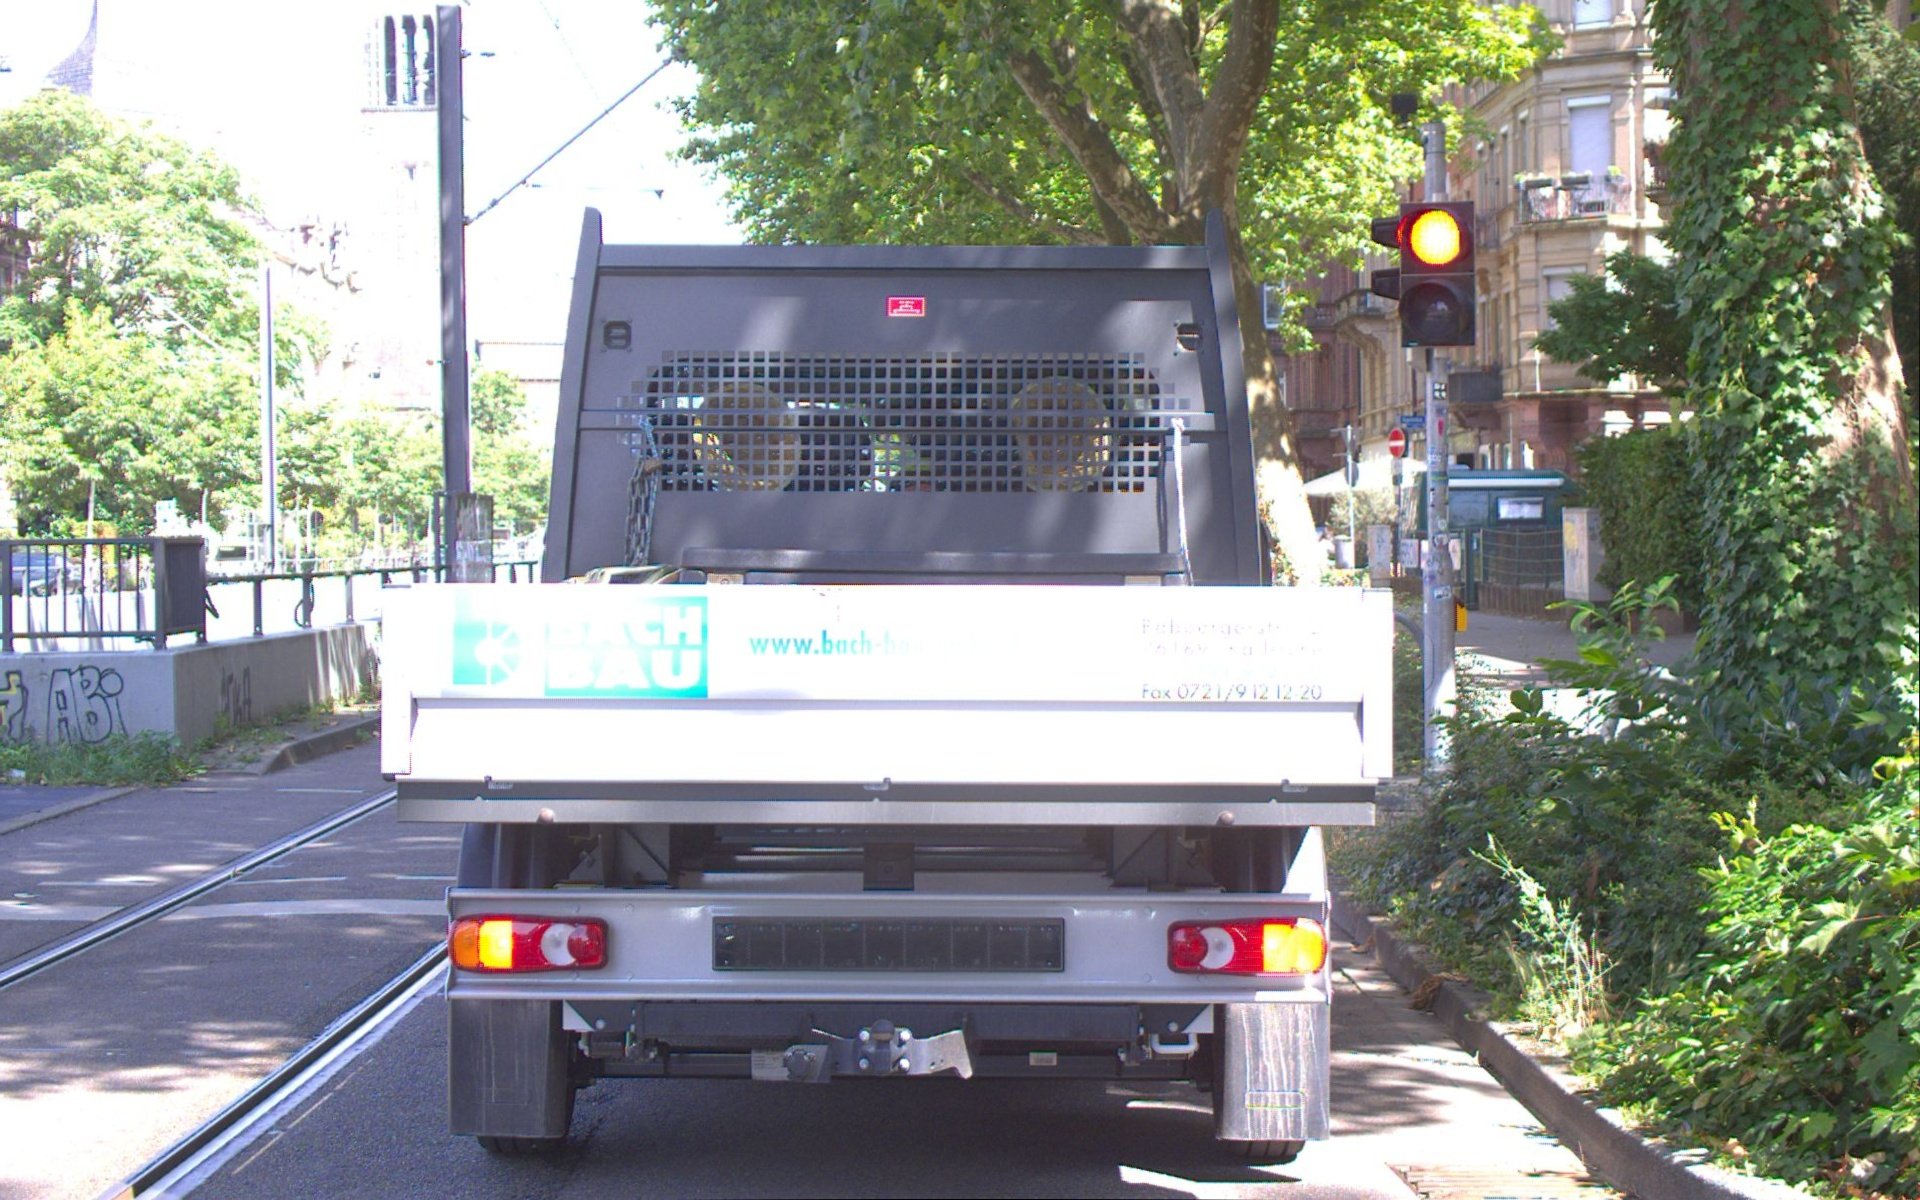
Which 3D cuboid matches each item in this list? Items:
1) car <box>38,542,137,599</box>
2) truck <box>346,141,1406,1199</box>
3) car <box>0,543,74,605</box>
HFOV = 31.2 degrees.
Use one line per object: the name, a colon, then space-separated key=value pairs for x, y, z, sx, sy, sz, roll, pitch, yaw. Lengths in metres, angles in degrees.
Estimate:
car: x=-23.755 y=-0.817 z=93.743 sx=1.770 sy=1.493 sz=4.001 roll=-1 pitch=1 yaw=-2
truck: x=-0.158 y=0.187 z=9.153 sx=2.138 sy=2.311 sz=4.402 roll=0 pitch=1 yaw=0
car: x=-23.490 y=-0.669 z=85.907 sx=1.770 sy=1.493 sz=4.001 roll=-1 pitch=1 yaw=-2
